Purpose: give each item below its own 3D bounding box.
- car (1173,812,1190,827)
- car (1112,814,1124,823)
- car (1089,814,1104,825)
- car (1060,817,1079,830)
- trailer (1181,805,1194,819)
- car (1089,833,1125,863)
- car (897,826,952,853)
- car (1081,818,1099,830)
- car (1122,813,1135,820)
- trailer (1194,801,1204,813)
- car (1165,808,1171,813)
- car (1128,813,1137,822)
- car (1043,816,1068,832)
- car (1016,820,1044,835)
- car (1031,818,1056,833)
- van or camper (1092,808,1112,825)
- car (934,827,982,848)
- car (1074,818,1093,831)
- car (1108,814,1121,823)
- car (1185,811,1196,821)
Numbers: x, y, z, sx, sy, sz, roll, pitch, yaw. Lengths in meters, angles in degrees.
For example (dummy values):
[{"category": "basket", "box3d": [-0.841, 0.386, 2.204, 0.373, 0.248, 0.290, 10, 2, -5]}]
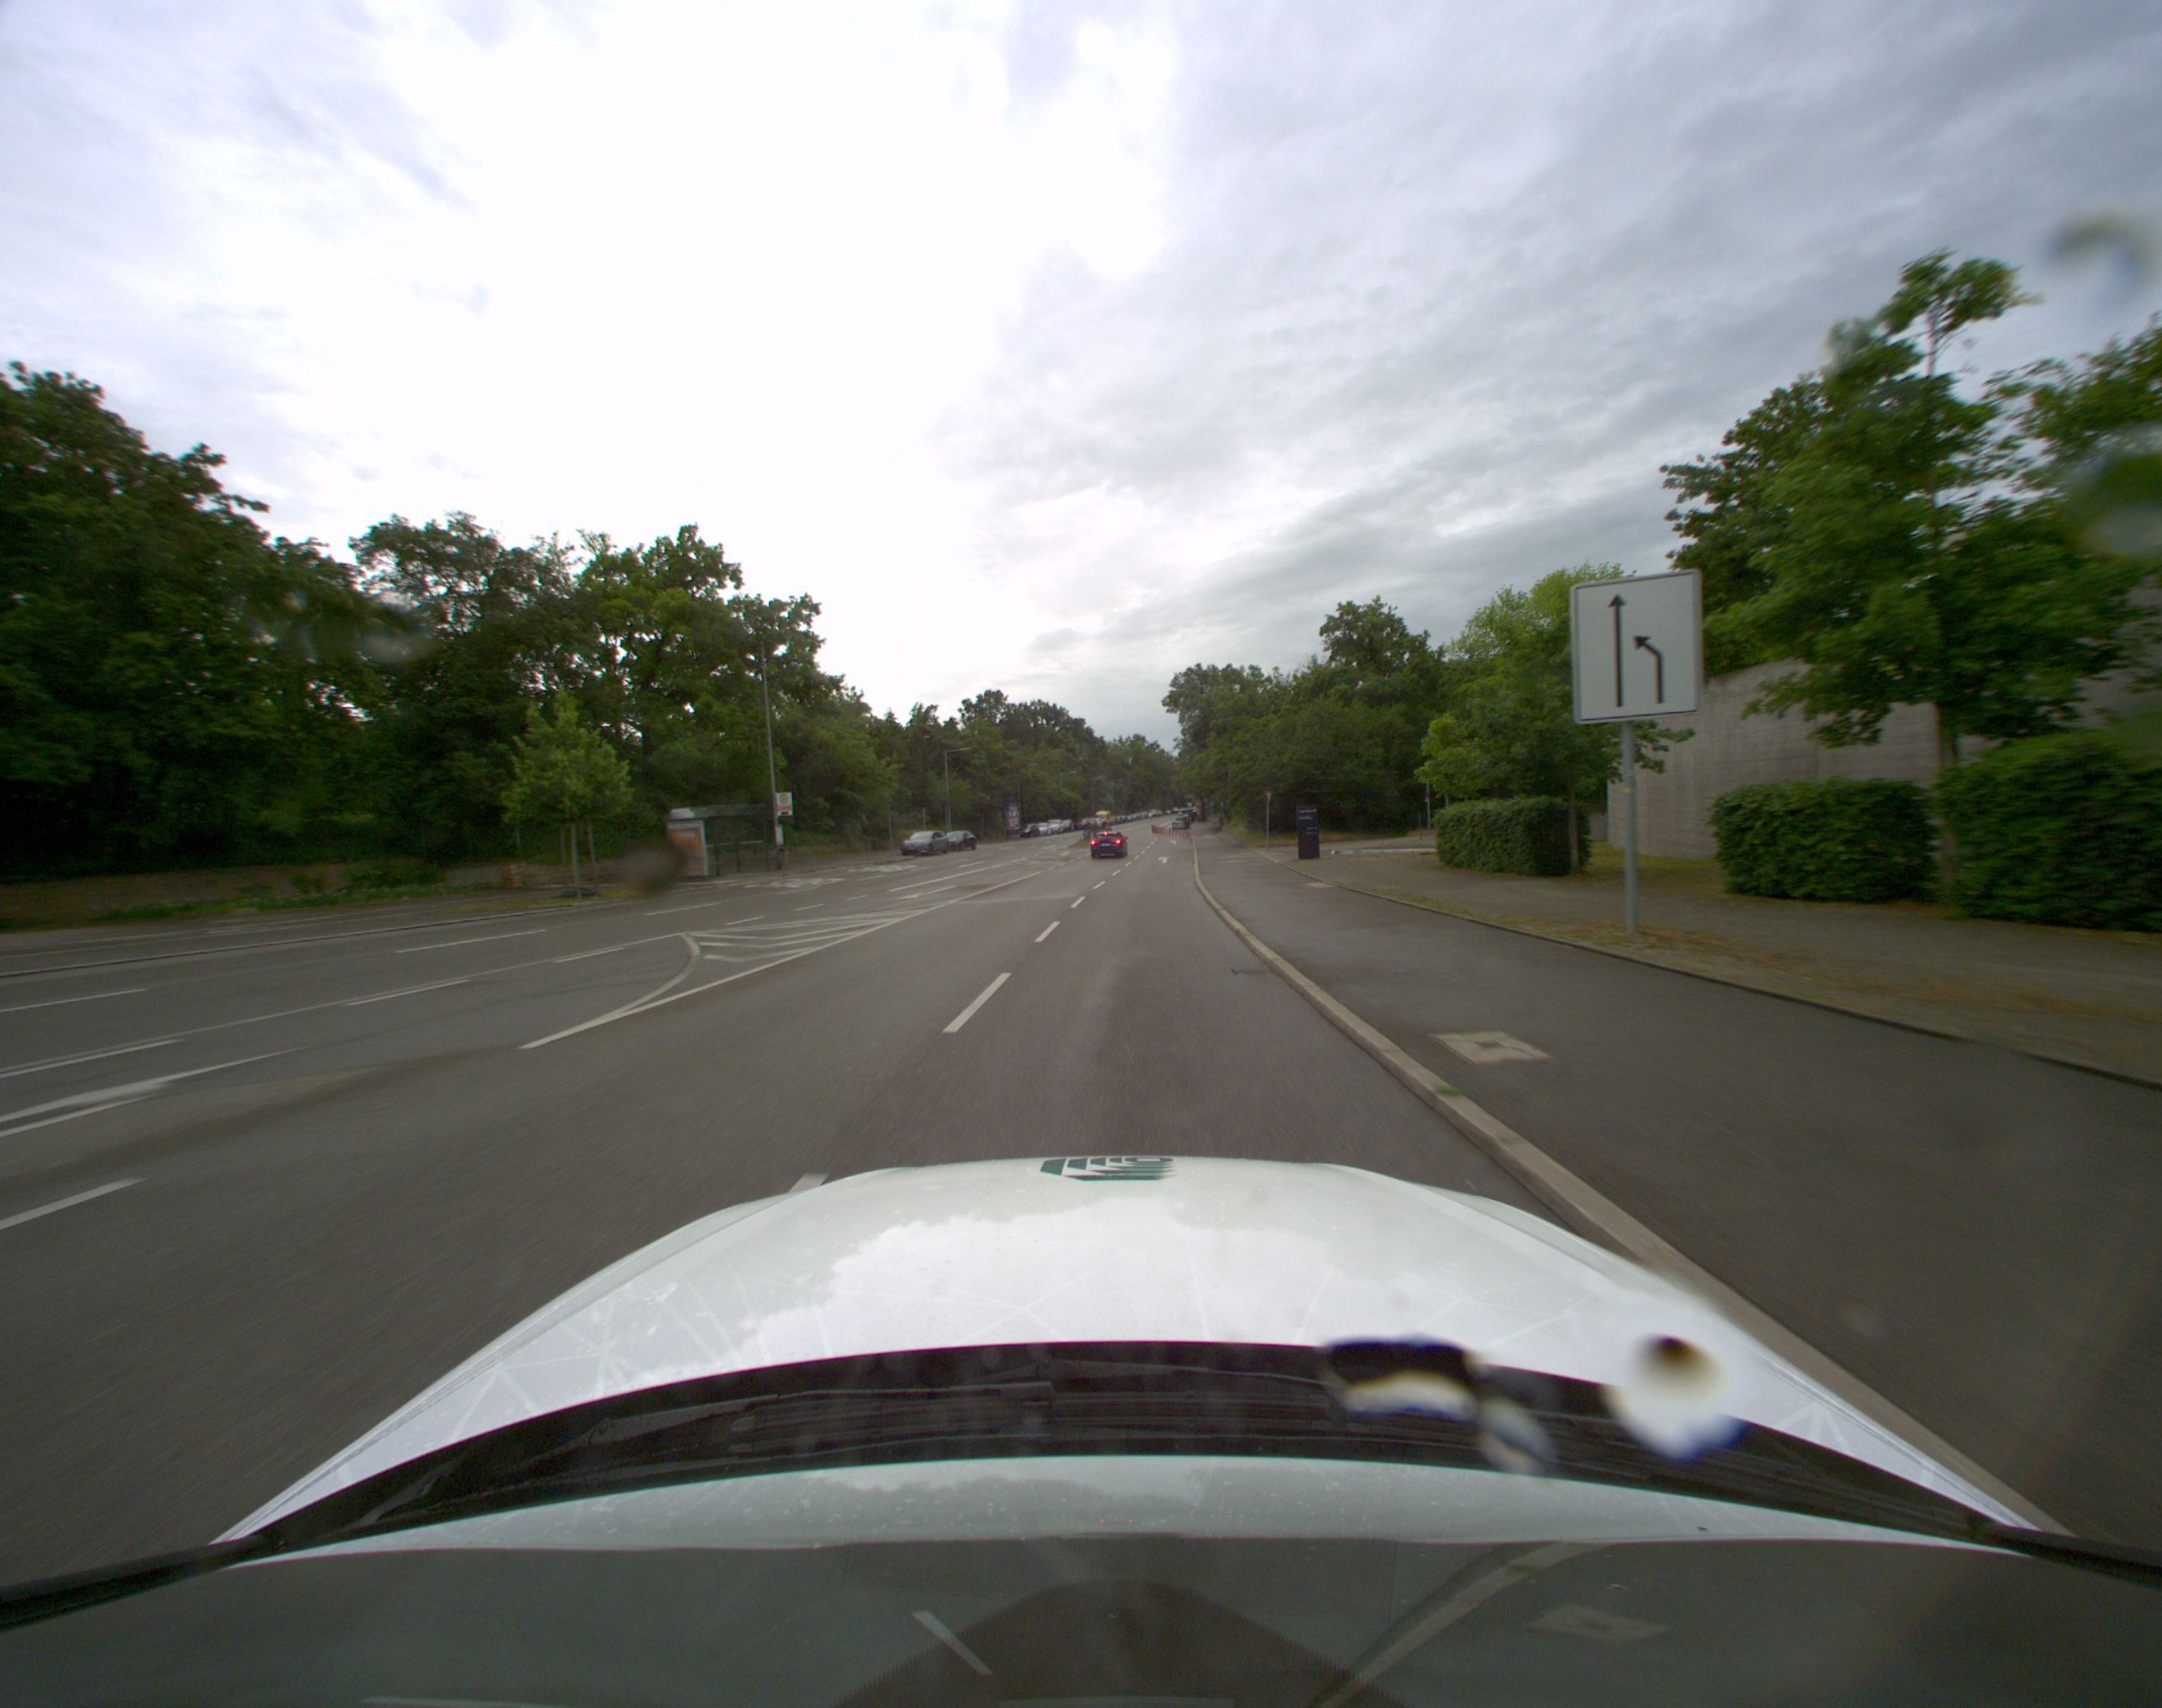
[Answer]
[{"category": "car", "box3d": [11.497, -3.936, 93.430, 1.813, 1.614, 4.260, -2, 3, 6]}, {"category": "car", "box3d": [6.883, -6.635, 150.632, 1.592, 1.509, 3.991, -2, 3, 12]}, {"category": "car", "box3d": [2.413, -5.449, 127.898, 1.607, 1.448, 3.670, -3, 3, 11]}, {"category": "car", "box3d": [-1.469, -4.004, 106.277, 1.721, 1.648, 4.583, -2, 3, 8]}, {"category": "trailer", "box3d": [18.581, -7.382, 141.898, 1.894, 2.247, 4.783, -2, 3, 10]}, {"category": "car", "box3d": [1.441, -0.371, 45.534, 1.874, 1.465, 4.002, -1, 4, 1]}, {"category": "car", "box3d": [-9.999, -0.972, 52.539, 1.830, 1.589, 4.943, -1, 2, 10]}, {"category": "car", "box3d": [1.320, -4.561, 122.723, 1.982, 1.699, 4.629, -2, 3, 9]}, {"category": "car", "box3d": [9.293, -7.360, 159.860, 1.858, 1.303, 4.485, -2, 3, 10]}, {"category": "trailer", "box3d": [27.138, -10.805, 187.709, 2.119, 2.559, 4.309, -2, 3, 9]}, {"category": "car", "box3d": [26.939, -13.404, 252.094, 1.662, 1.513, 3.642, -1, 4, 10]}, {"category": "car", "box3d": [10.515, -7.514, 167.608, 1.452, 1.570, 2.993, -2, 3, 10]}, {"category": "car", "box3d": [-3.112, -3.613, 98.985, 1.981, 1.765, 4.976, -2, 3, 10]}, {"category": "car", "box3d": [-5.457, -2.863, 87.220, 1.737, 1.444, 4.605, -1, 3, 13]}, {"category": "car", "box3d": [-4.284, -3.271, 93.244, 1.707, 1.459, 4.724, -2, 3, 11]}, {"category": "van or camper", "box3d": [3.473, -6.287, 134.737, 2.129, 2.626, 5.703, -2, 3, 12]}, {"category": "car", "box3d": [-8.774, -1.217, 58.465, 1.894, 1.414, 4.797, -1, 2, 10]}, {"category": "car", "box3d": [0.398, -4.291, 117.939, 1.906, 1.616, 4.505, -3, 3, 11]}, {"category": "car", "box3d": [5.997, -6.287, 145.350, 1.592, 1.509, 3.150, -2, 3, 12]}, {"category": "car", "box3d": [18.122, -6.320, 134.939, 1.812, 1.485, 4.211, 0, 3, 8]}]
